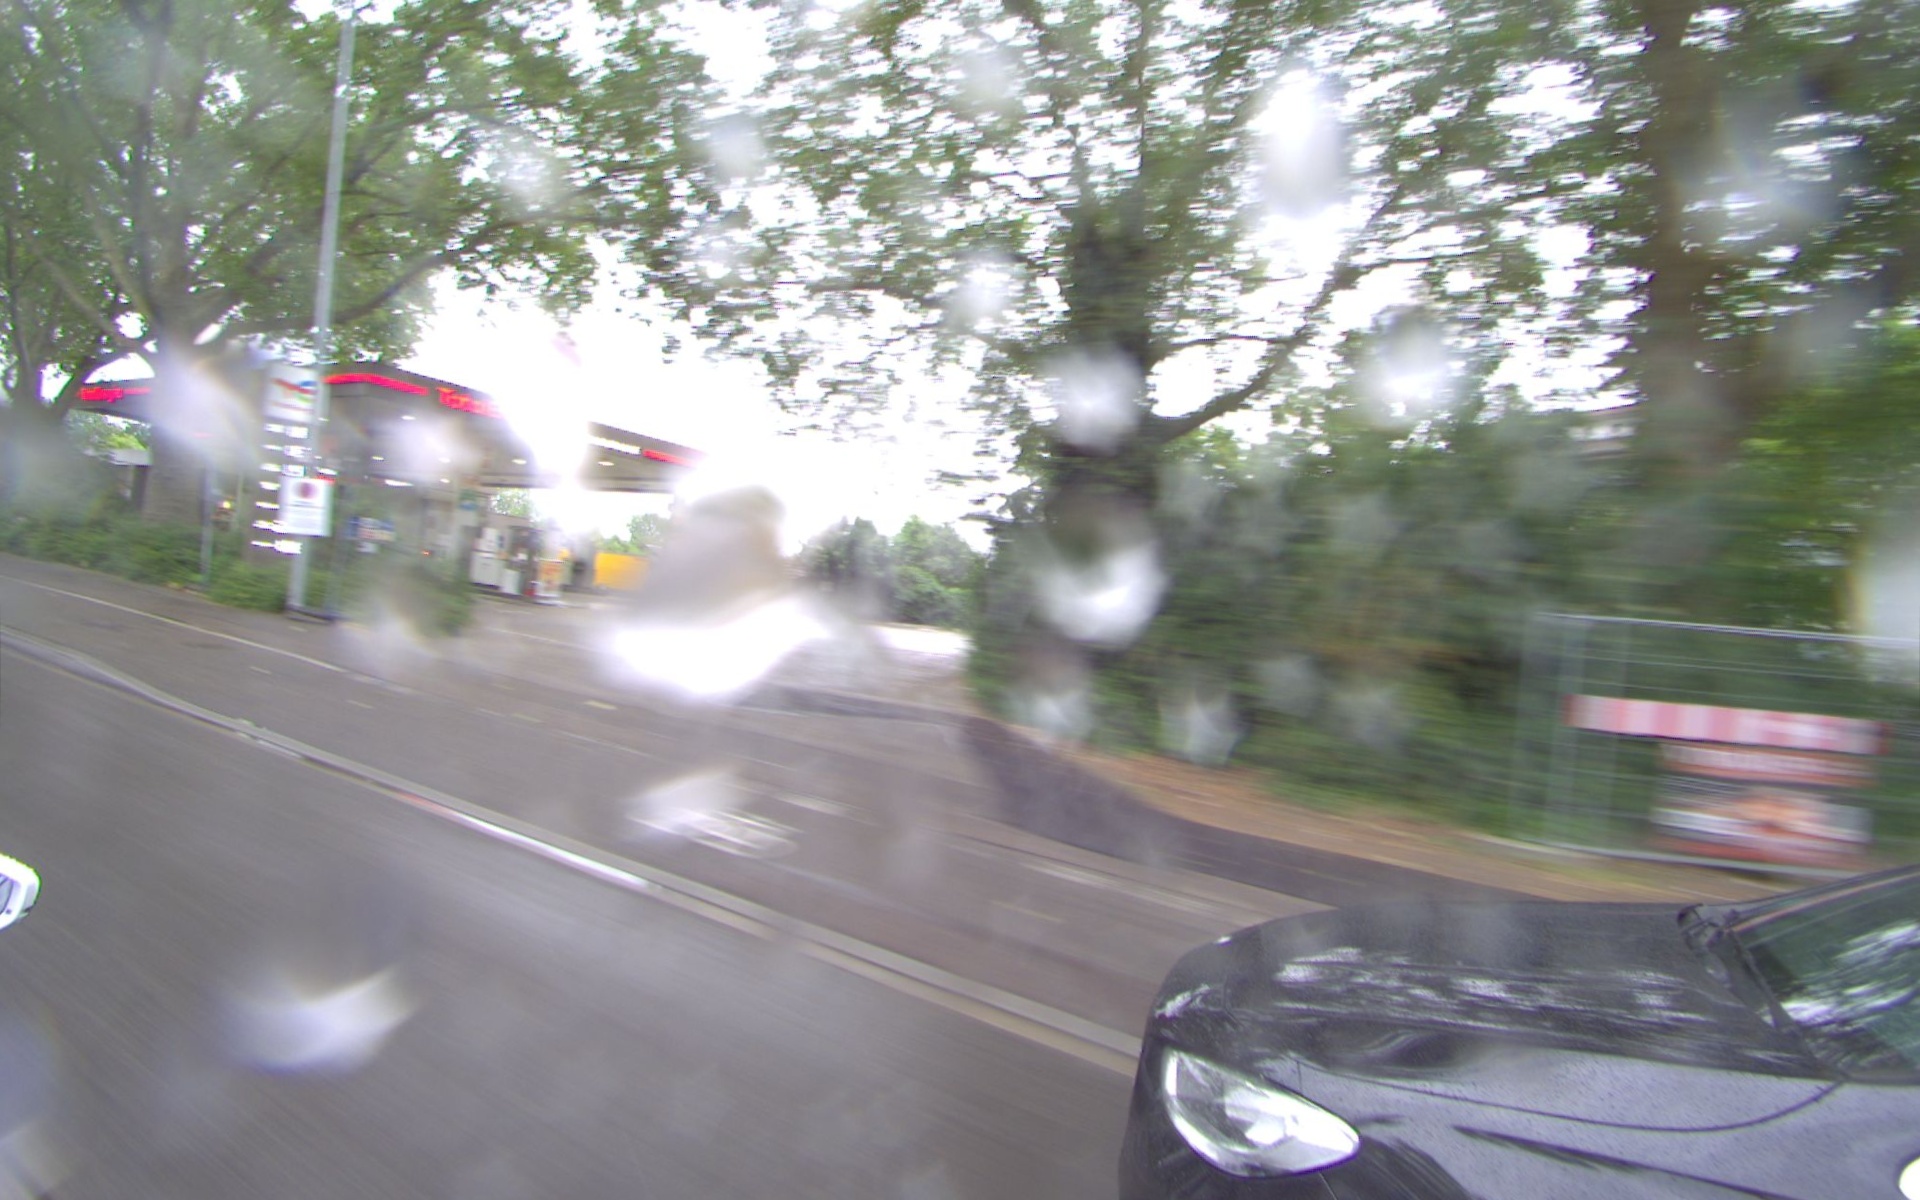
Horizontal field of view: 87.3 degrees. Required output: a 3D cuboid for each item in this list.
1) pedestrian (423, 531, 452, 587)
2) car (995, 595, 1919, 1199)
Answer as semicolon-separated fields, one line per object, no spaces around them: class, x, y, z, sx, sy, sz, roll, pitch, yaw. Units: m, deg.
pedestrian;-17.006;-1.347;32.738;0.551;1.747;0.718;5;1;-39
car;2.275;1.003;1.552;4.018;1.542;1.873;6;0;30
